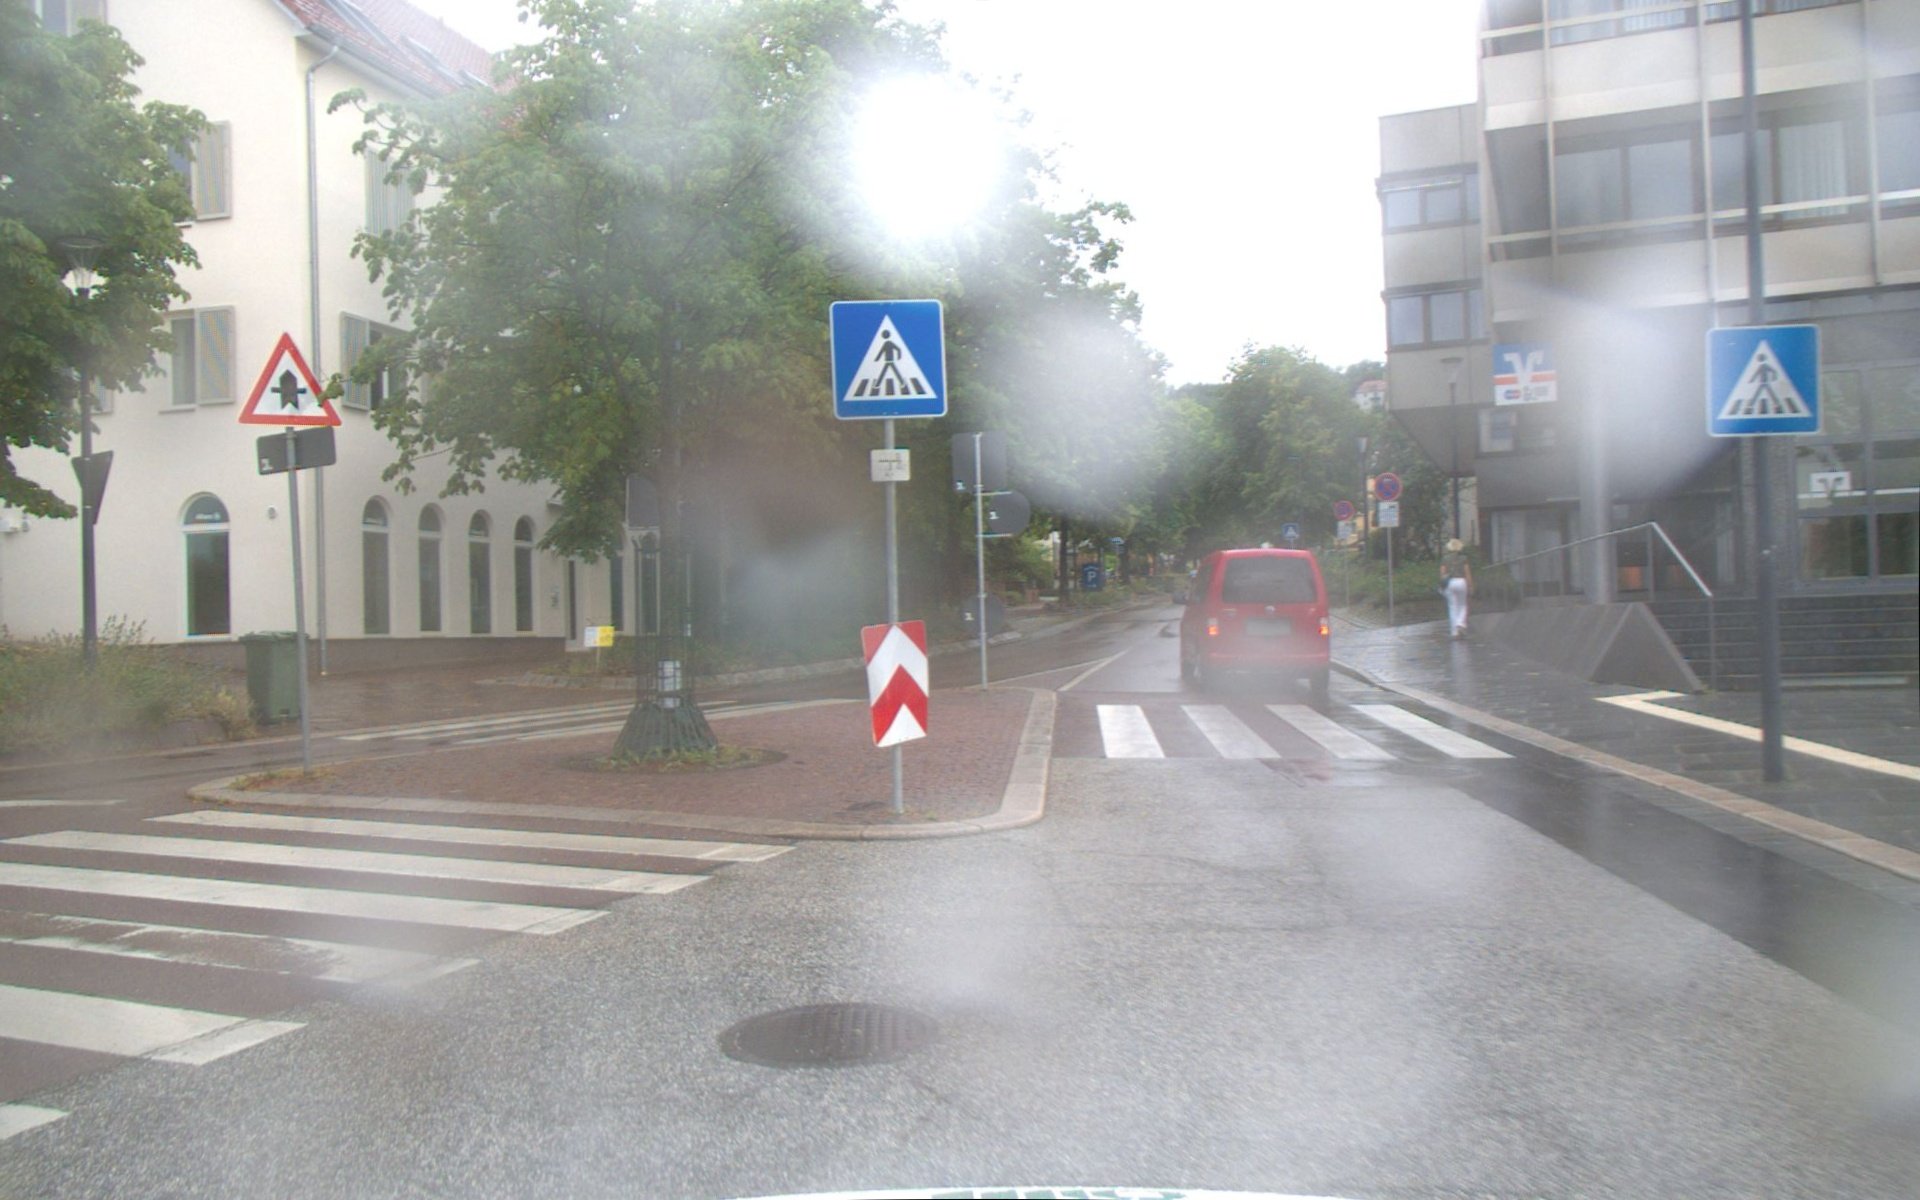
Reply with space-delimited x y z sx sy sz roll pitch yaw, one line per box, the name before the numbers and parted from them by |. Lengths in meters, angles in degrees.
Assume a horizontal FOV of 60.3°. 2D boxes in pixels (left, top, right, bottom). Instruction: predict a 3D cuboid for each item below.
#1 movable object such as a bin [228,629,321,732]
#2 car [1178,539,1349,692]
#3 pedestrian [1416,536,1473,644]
movable object such as a bin | -8.020 0.940 19.352 0.722 1.144 0.650 -3 -1 19
car | 4.088 0.199 22.907 1.823 1.862 4.187 -2 0 4
pedestrian | 8.674 -0.171 29.617 0.817 1.862 0.815 -3 -1 22
